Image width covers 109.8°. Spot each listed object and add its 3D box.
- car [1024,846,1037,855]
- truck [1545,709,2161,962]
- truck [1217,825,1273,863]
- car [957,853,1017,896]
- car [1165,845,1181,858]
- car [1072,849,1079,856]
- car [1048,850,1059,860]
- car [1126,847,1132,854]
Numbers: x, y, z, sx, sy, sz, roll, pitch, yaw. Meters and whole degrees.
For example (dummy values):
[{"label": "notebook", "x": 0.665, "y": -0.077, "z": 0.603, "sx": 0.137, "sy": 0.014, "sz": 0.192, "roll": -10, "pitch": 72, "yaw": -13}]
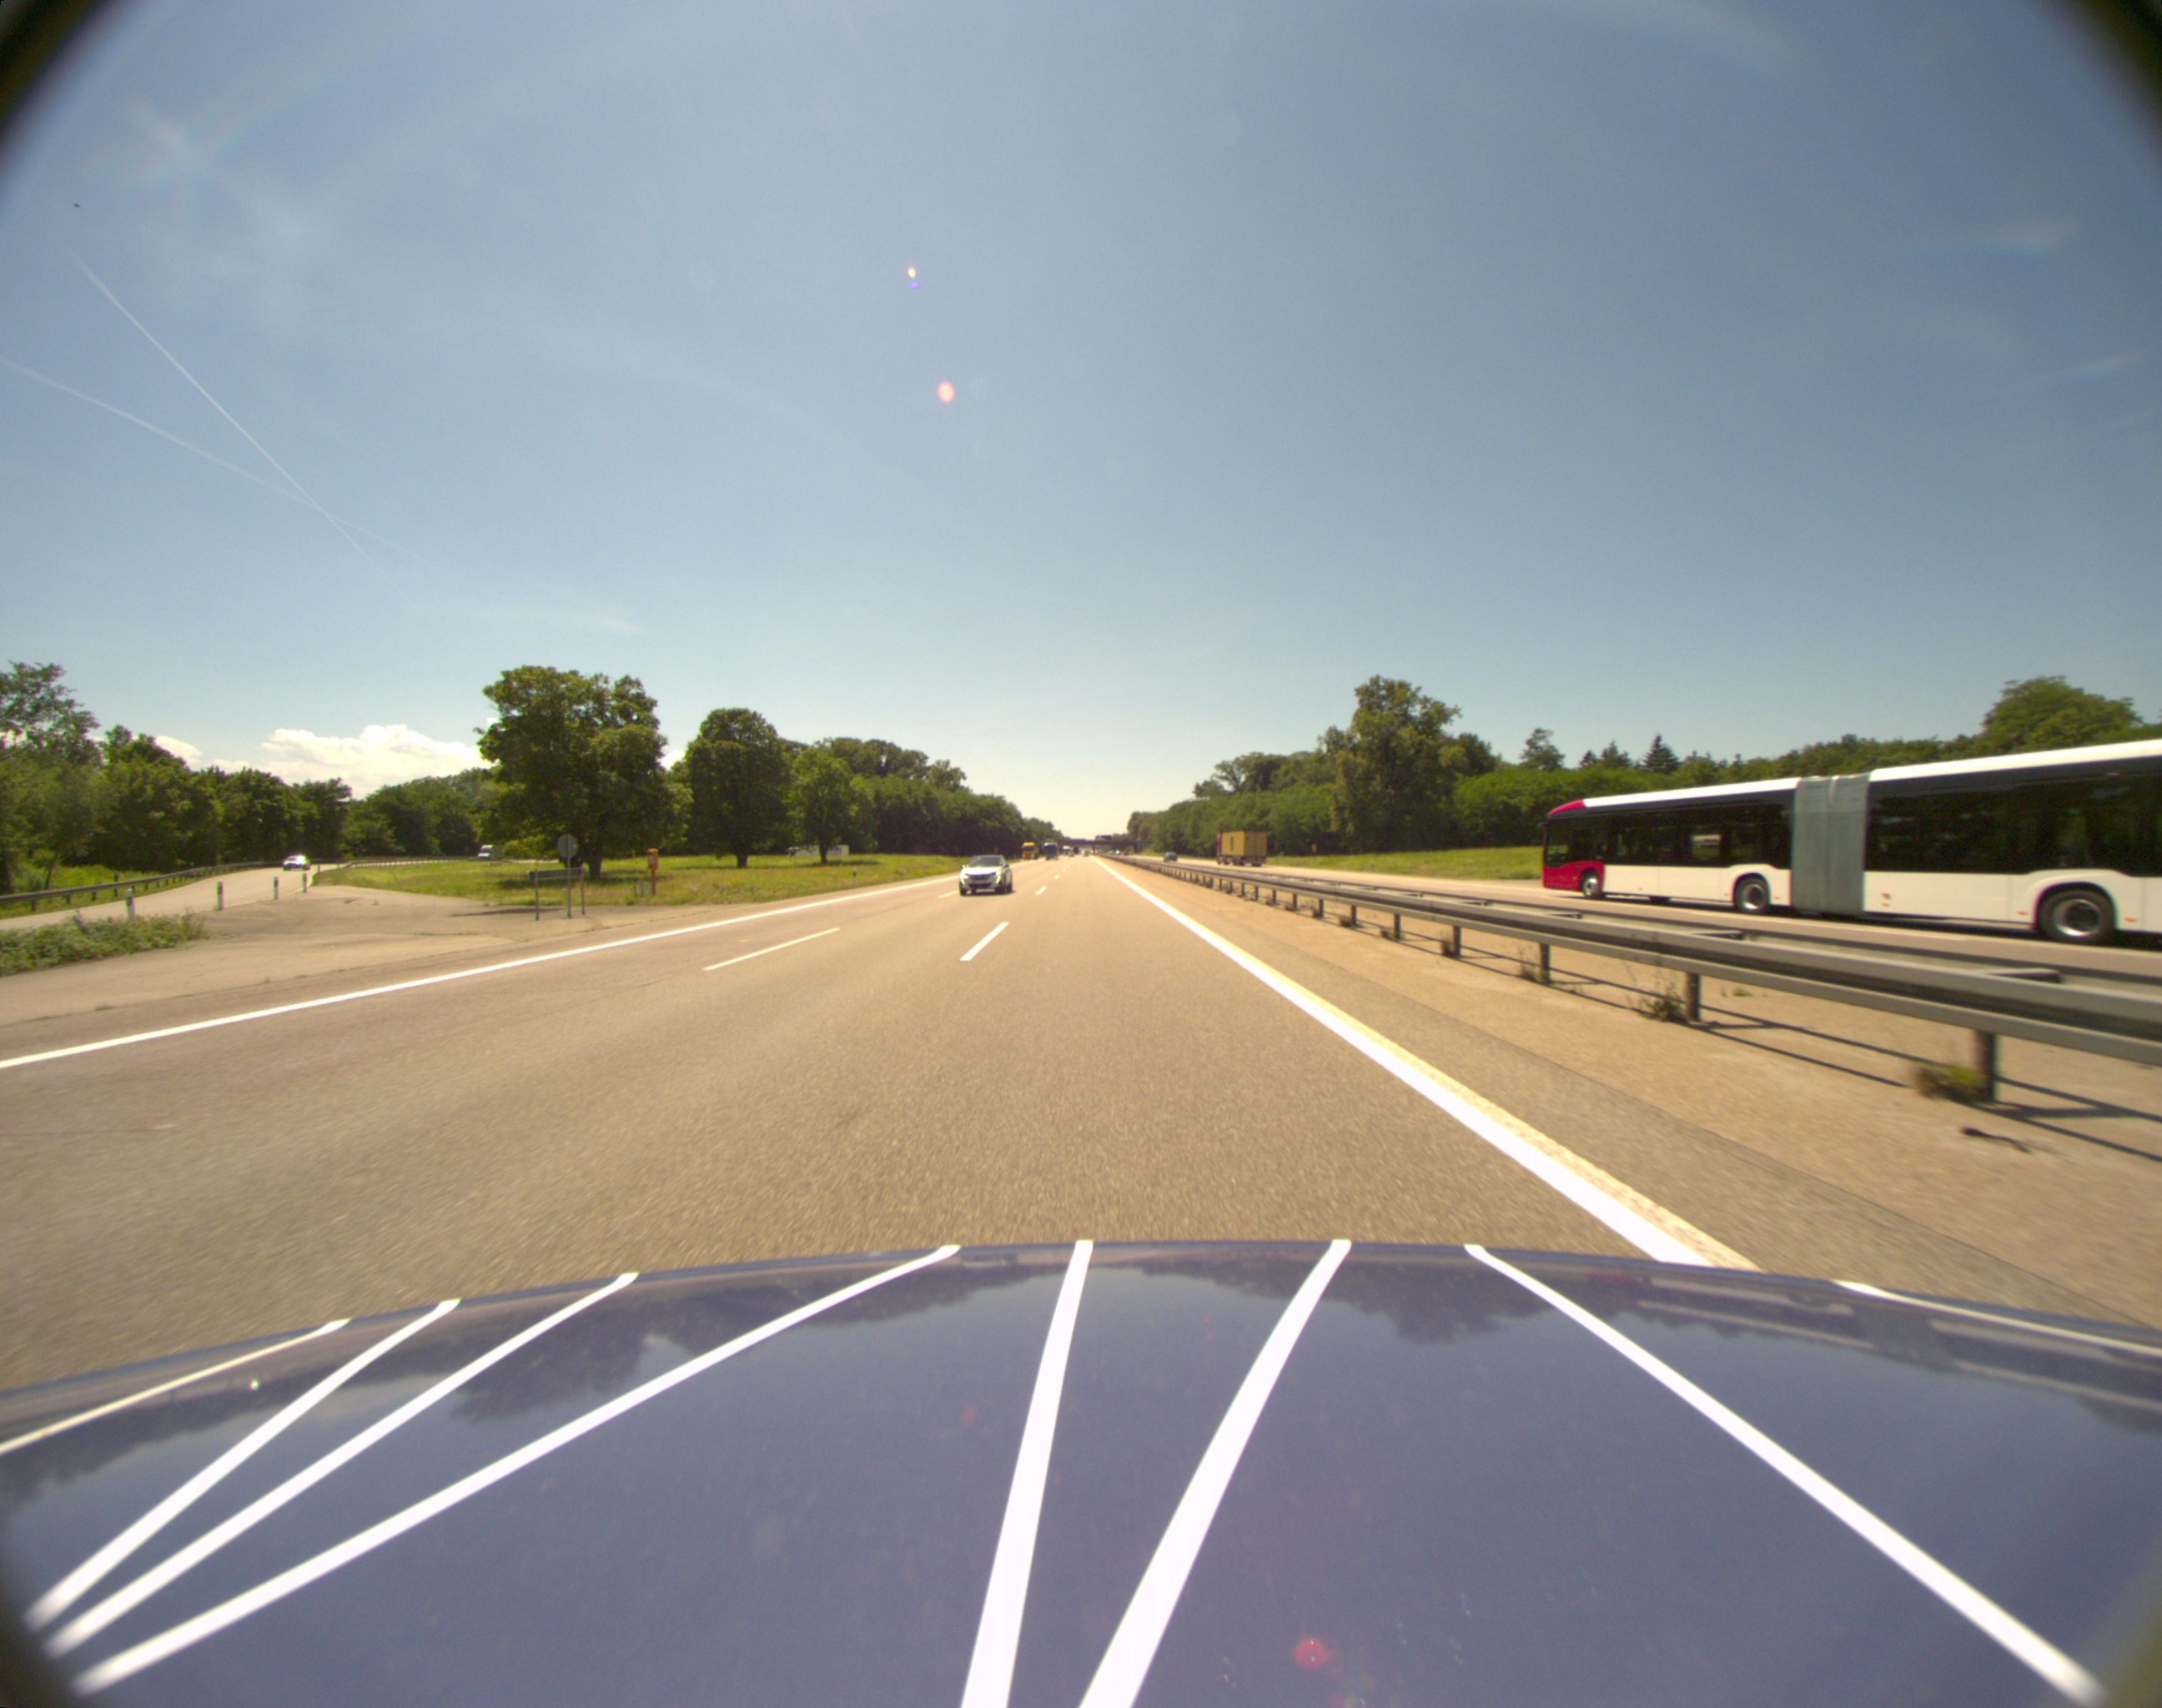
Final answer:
[{"label": "car", "x": -11.762, "y": -0.920, "z": 177.526, "sx": 2.562, "sy": 2.002, "sz": 6.763, "roll": -1, "pitch": 1, "yaw": -1}, {"label": "truck", "x": 17.974, "y": -0.365, "z": 18.075, "sx": 3.091, "sy": 3.853, "sz": 17.544, "roll": -1, "pitch": 1, "yaw": 0}, {"label": "truck", "x": 18.348, "y": -1.133, "z": 86.415, "sx": 3.091, "sy": 3.853, "sz": 15.620, "roll": -2, "pitch": 1, "yaw": 1}, {"label": "car", "x": -3.772, "y": 0.774, "z": 31.109, "sx": 1.845, "sy": 1.565, "sz": 4.000, "roll": -2, "pitch": 1, "yaw": 1}, {"label": "car", "x": 14.211, "y": -0.392, "z": 117.572, "sx": 1.998, "sy": 2.002, "sz": 4.000, "roll": -1, "pitch": 1, "yaw": 1}, {"label": "car", "x": -1.554, "y": -0.406, "z": 223.406, "sx": 1.840, "sy": 2.002, "sz": 4.000, "roll": -1, "pitch": 1, "yaw": 1}, {"label": "car", "x": -5.770, "y": 0.265, "z": 159.465, "sx": 2.300, "sy": 2.002, "sz": 4.794, "roll": -1, "pitch": 1, "yaw": -1}, {"label": "car", "x": 15.569, "y": -1.172, "z": 246.651, "sx": 1.998, "sy": 2.002, "sz": 4.000, "roll": -1, "pitch": 1, "yaw": 1}]
